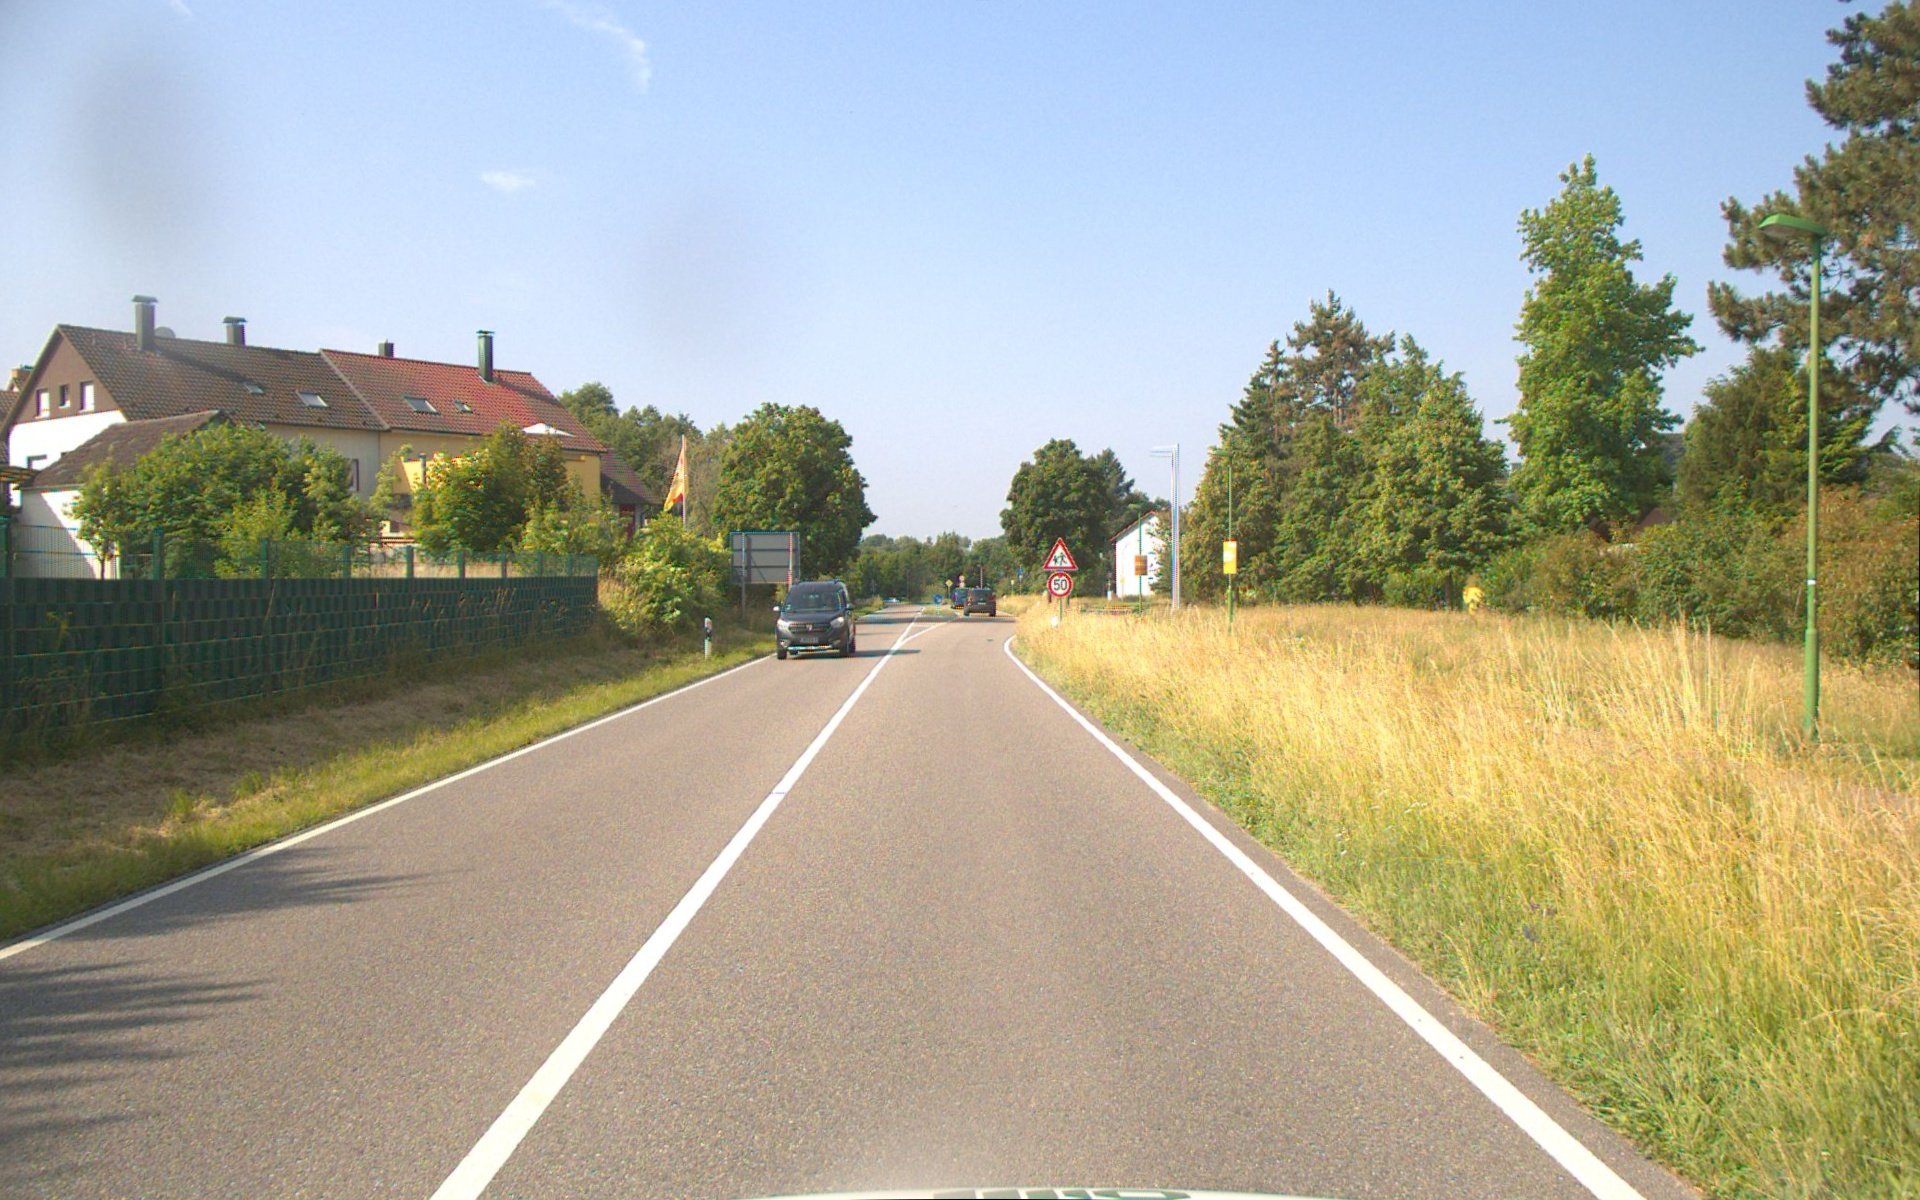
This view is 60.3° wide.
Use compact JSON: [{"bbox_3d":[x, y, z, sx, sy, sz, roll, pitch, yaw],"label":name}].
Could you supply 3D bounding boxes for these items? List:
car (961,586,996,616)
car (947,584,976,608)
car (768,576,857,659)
[{"bbox_3d":[1.125,0.038,103.014,1.887,1.802,3.998,0,1,-3],"label":"car"},{"bbox_3d":[0.094,-0.331,128.688,1.965,1.802,3.997,0,1,-5],"label":"car"},{"bbox_3d":[-3.528,0.389,40.187,1.901,1.849,4.239,-2,0,-3],"label":"car"}]
